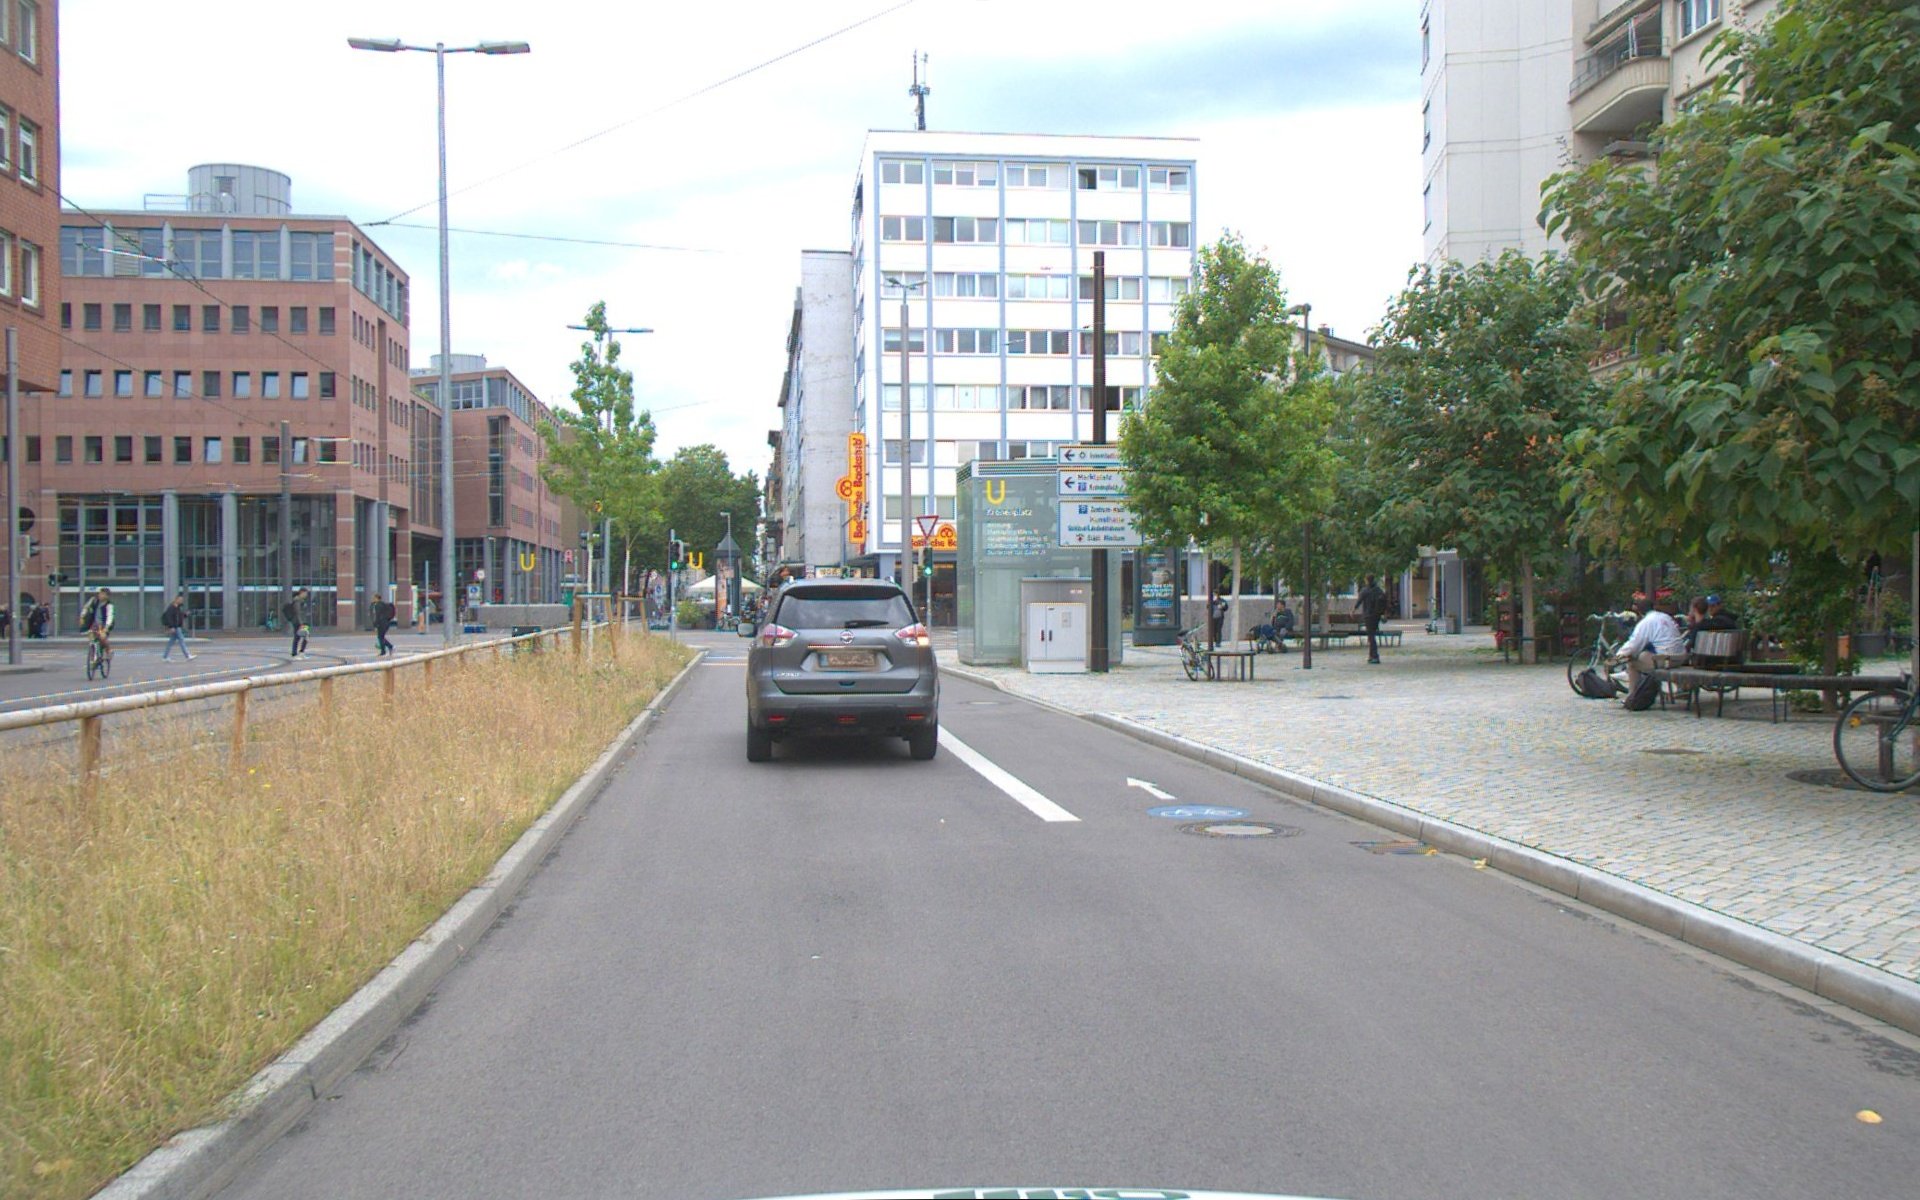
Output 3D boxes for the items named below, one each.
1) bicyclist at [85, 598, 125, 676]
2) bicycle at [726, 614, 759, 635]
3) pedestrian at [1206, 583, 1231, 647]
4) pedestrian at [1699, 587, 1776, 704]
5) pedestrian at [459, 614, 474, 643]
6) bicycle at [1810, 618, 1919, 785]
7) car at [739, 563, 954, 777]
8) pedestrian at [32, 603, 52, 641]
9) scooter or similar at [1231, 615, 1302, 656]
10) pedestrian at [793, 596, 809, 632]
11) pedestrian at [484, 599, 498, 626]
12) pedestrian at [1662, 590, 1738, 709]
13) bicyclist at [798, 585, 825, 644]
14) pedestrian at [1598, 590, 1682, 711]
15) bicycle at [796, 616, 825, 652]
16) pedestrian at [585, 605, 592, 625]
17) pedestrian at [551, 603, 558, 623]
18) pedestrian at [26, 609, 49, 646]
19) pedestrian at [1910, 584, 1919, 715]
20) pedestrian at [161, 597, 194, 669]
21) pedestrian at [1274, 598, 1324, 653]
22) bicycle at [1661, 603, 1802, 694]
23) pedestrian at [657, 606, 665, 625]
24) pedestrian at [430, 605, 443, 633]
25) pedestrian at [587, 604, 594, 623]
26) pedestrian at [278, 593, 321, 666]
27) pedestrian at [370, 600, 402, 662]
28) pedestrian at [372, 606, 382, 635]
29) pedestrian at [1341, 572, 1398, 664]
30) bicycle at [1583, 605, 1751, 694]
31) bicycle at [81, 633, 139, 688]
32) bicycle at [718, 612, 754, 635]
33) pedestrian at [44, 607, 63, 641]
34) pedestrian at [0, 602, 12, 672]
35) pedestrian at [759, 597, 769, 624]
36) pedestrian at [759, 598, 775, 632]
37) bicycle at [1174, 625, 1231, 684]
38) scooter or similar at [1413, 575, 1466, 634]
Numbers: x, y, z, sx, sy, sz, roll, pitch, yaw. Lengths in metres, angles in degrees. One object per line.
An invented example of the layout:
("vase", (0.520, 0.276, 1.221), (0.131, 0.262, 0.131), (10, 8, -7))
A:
("bicyclist", (-17.403, 0.744, 33.680), (0.482, 1.567, 0.810), (-1, 0, -9))
("bicycle", (-11.552, 1.295, 87.743), (1.672, 1.084, 0.434), (1, 0, -22))
("pedestrian", (7.338, 0.423, 46.984), (0.657, 1.792, 0.642), (0, 0, 8))
("pedestrian", (9.595, 0.542, 20.448), (0.531, 1.390, 1.281), (0, 0, 10))
("pedestrian", (-32.710, 1.887, 109.548), (0.727, 1.874, 0.693), (1, -1, -39))
("bicycle", (7.158, 0.713, 11.770), (1.874, 1.142, 0.645), (0, 0, 3))
("car", (-1.264, 0.614, 16.886), (1.828, 1.805, 4.560), (-2, 0, -7))
("pedestrian", (-41.884, 1.005, 75.447), (0.734, 1.717, 0.568), (1, -2, -32))
("scooter or similar", (7.532, 0.873, 40.656), (1.557, 0.965, 0.723), (-2, 0, 31))
("pedestrian", (-8.358, 0.715, 86.887), (0.701, 1.864, 1.013), (1, 0, -15))
("pedestrian", (-32.612, 0.896, 115.072), (0.685, 1.874, 0.735), (0, 0, 12))
("pedestrian", (8.864, 0.580, 19.846), (0.614, 1.390, 0.920), (0, 0, 10))
("bicyclist", (-4.647, 0.451, 51.639), (0.818, 1.844, 0.876), (0, 0, -5))
("pedestrian", (8.051, 0.586, 19.596), (0.620, 1.390, 0.682), (1, 0, -26))
("bicycle", (-4.692, 1.038, 51.922), (0.884, 1.063, 3.274), (0, 0, -5))
("pedestrian", (-32.842, 1.295, 146.313), (0.590, 1.744, 0.653), (1, 0, -15))
("pedestrian", (-36.582, 1.185, 149.362), (0.590, 1.744, 0.653), (1, 0, -15))
("pedestrian", (-40.118, 1.187, 71.935), (0.561, 1.588, 0.744), (0, -2, -2))
("pedestrian", (10.552, 0.524, 17.016), (0.616, 1.390, 1.407), (1, 0, -8))
("pedestrian", (-21.154, 0.890, 44.743), (0.599, 1.923, 0.797), (0, -1, -10))
("pedestrian", (8.457, 0.632, 41.283), (1.023, 1.319, 0.732), (-2, 0, -2))
("bicycle", (10.093, 0.630, 21.668), (1.566, 1.130, 0.478), (-2, 0, 7))
("pedestrian", (-24.473, 1.288, 135.325), (0.590, 1.563, 0.653), (1, 0, -15))
("pedestrian", (-35.293, 1.299, 111.484), (0.725, 1.874, 0.695), (1, 0, -32))
("pedestrian", (-34.970, 1.298, 156.370), (0.590, 1.744, 0.653), (1, 0, -15))
("pedestrian", (-17.777, 0.791, 44.502), (0.880, 1.923, 0.797), (1, -1, -10))
("pedestrian", (-16.117, 0.872, 46.444), (0.730, 1.713, 0.797), (1, -1, -12))
("pedestrian", (-30.893, 1.091, 87.579), (0.443, 1.559, 0.518), (1, 0, -25))
("pedestrian", (8.452, 0.369, 34.189), (0.700, 1.833, 1.076), (-3, 0, -8))
("bicycle", (9.494, 0.666, 22.247), (1.991, 1.130, 0.478), (-2, 0, 8))
("bicycle", (-17.418, 1.226, 33.920), (0.467, 1.039, 1.908), (-1, 0, -9))
("bicycle", (-11.948, 1.264, 88.146), (1.841, 1.192, 0.527), (1, 0, -22))
("pedestrian", (-42.379, 1.127, 77.331), (0.733, 1.588, 0.569), (1, -2, -28))
("pedestrian", (-23.937, 0.908, 40.936), (0.559, 1.713, 0.797), (1, -1, -12))
("pedestrian", (-13.097, 0.701, 110.317), (0.631, 1.735, 0.558), (0, 0, -7))
("pedestrian", (-10.243, 0.794, 87.670), (0.720, 1.776, 0.660), (1, 0, -16))
("bicycle", (4.378, 0.963, 29.826), (0.644, 0.995, 1.755), (-1, 0, 21))
("scooter or similar", (15.462, 0.140, 53.450), (1.061, 1.838, 2.274), (-1, 0, 1))
